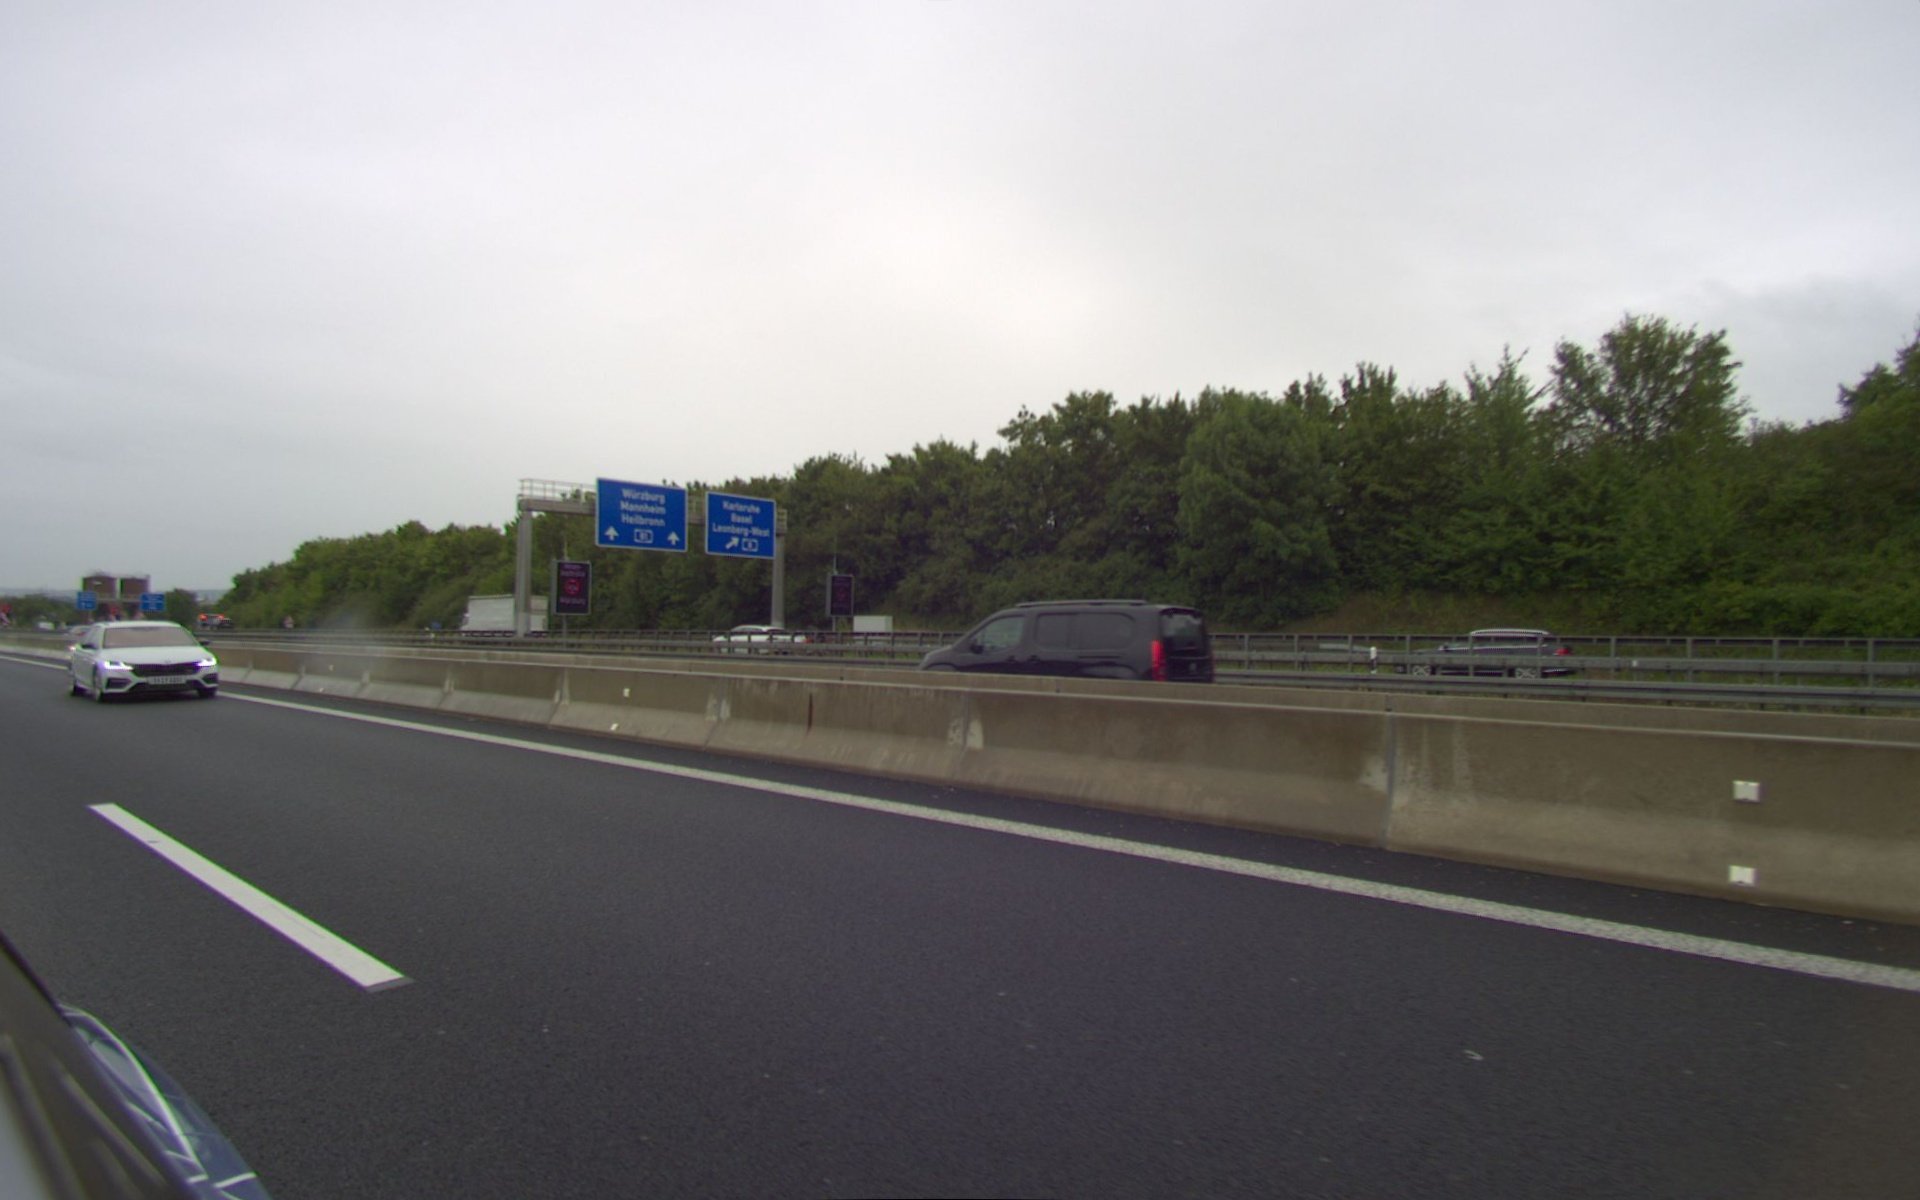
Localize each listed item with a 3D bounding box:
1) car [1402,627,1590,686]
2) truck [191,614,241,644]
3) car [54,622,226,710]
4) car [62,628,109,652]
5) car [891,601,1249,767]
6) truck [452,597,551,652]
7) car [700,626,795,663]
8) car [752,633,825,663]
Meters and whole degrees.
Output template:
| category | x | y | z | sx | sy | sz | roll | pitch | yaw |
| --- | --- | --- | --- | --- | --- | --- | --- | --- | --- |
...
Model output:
| category | x | y | z | sx | sy | sz | roll | pitch | yaw |
| --- | --- | --- | --- | --- | --- | --- | --- | --- | --- |
| car | 15.198 | 1.545 | 28.843 | 4.471 | 1.504 | 1.800 | -1 | -1 | 40 |
| truck | -86.433 | 3.314 | 117.523 | 9.075 | 3.245 | 2.821 | -1 | -1 | 41 |
| car | -15.885 | 1.170 | 19.508 | 4.775 | 1.467 | 1.799 | -1 | -1 | 41 |
| car | -57.114 | 2.577 | 66.077 | 4.416 | 1.467 | 1.738 | -1 | -1 | 41 |
| car | 1.452 | 1.057 | 14.796 | 4.980 | 2.029 | 1.973 | -1 | -1 | 41 |
| truck | -34.479 | 1.776 | 75.886 | 9.630 | 3.908 | 3.042 | -1 | -1 | 41 |
| car | -9.425 | 1.932 | 44.704 | 4.631 | 1.467 | 1.658 | -1 | -1 | 41 |
| car | -9.140 | 2.525 | 53.711 | 3.998 | 1.467 | 1.658 | -1 | -1 | 41 |
